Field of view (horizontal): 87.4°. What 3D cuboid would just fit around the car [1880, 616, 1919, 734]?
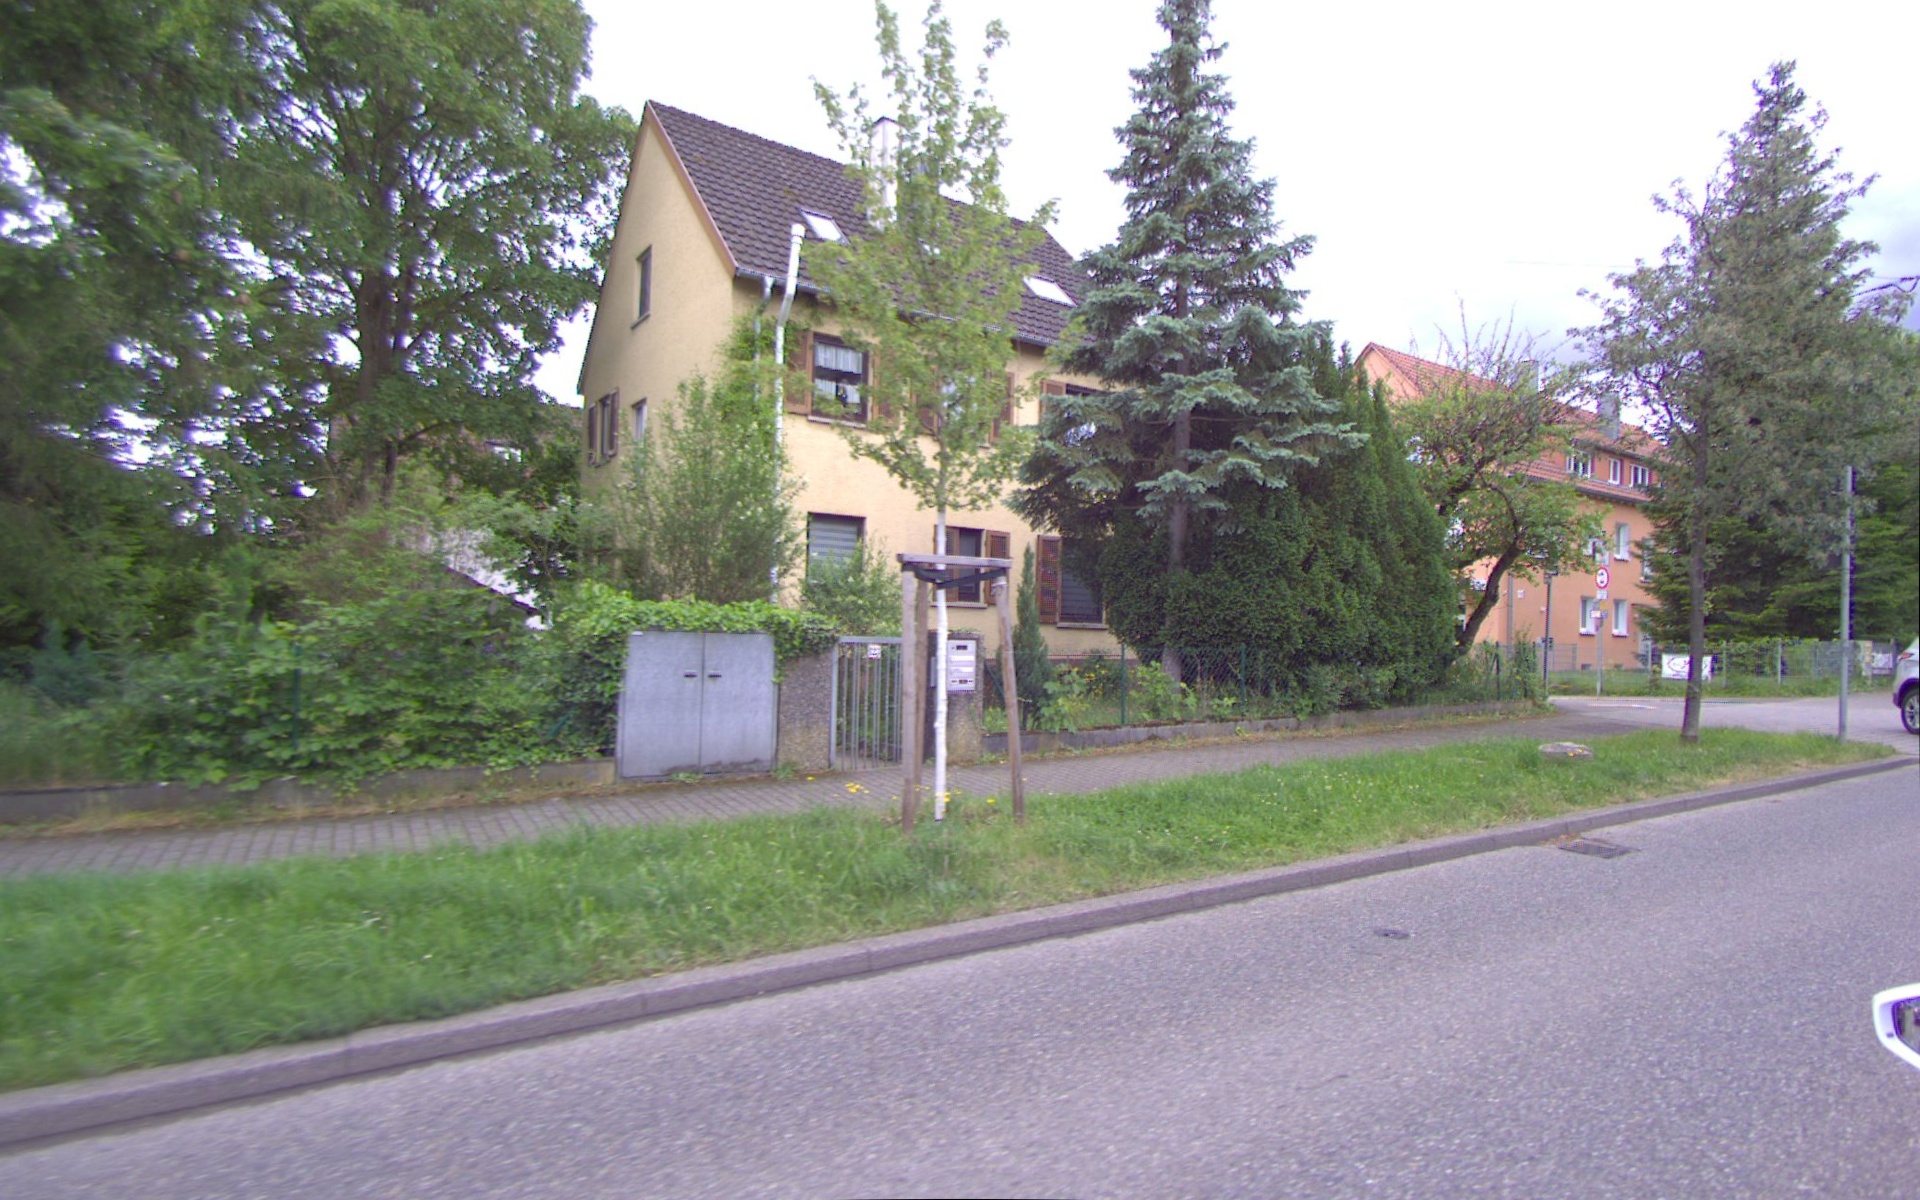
[{"bbox_3d":[14.606,1.076,13.236,1.712,1.728,4.103,0,-1,10],"label":"car"}]
